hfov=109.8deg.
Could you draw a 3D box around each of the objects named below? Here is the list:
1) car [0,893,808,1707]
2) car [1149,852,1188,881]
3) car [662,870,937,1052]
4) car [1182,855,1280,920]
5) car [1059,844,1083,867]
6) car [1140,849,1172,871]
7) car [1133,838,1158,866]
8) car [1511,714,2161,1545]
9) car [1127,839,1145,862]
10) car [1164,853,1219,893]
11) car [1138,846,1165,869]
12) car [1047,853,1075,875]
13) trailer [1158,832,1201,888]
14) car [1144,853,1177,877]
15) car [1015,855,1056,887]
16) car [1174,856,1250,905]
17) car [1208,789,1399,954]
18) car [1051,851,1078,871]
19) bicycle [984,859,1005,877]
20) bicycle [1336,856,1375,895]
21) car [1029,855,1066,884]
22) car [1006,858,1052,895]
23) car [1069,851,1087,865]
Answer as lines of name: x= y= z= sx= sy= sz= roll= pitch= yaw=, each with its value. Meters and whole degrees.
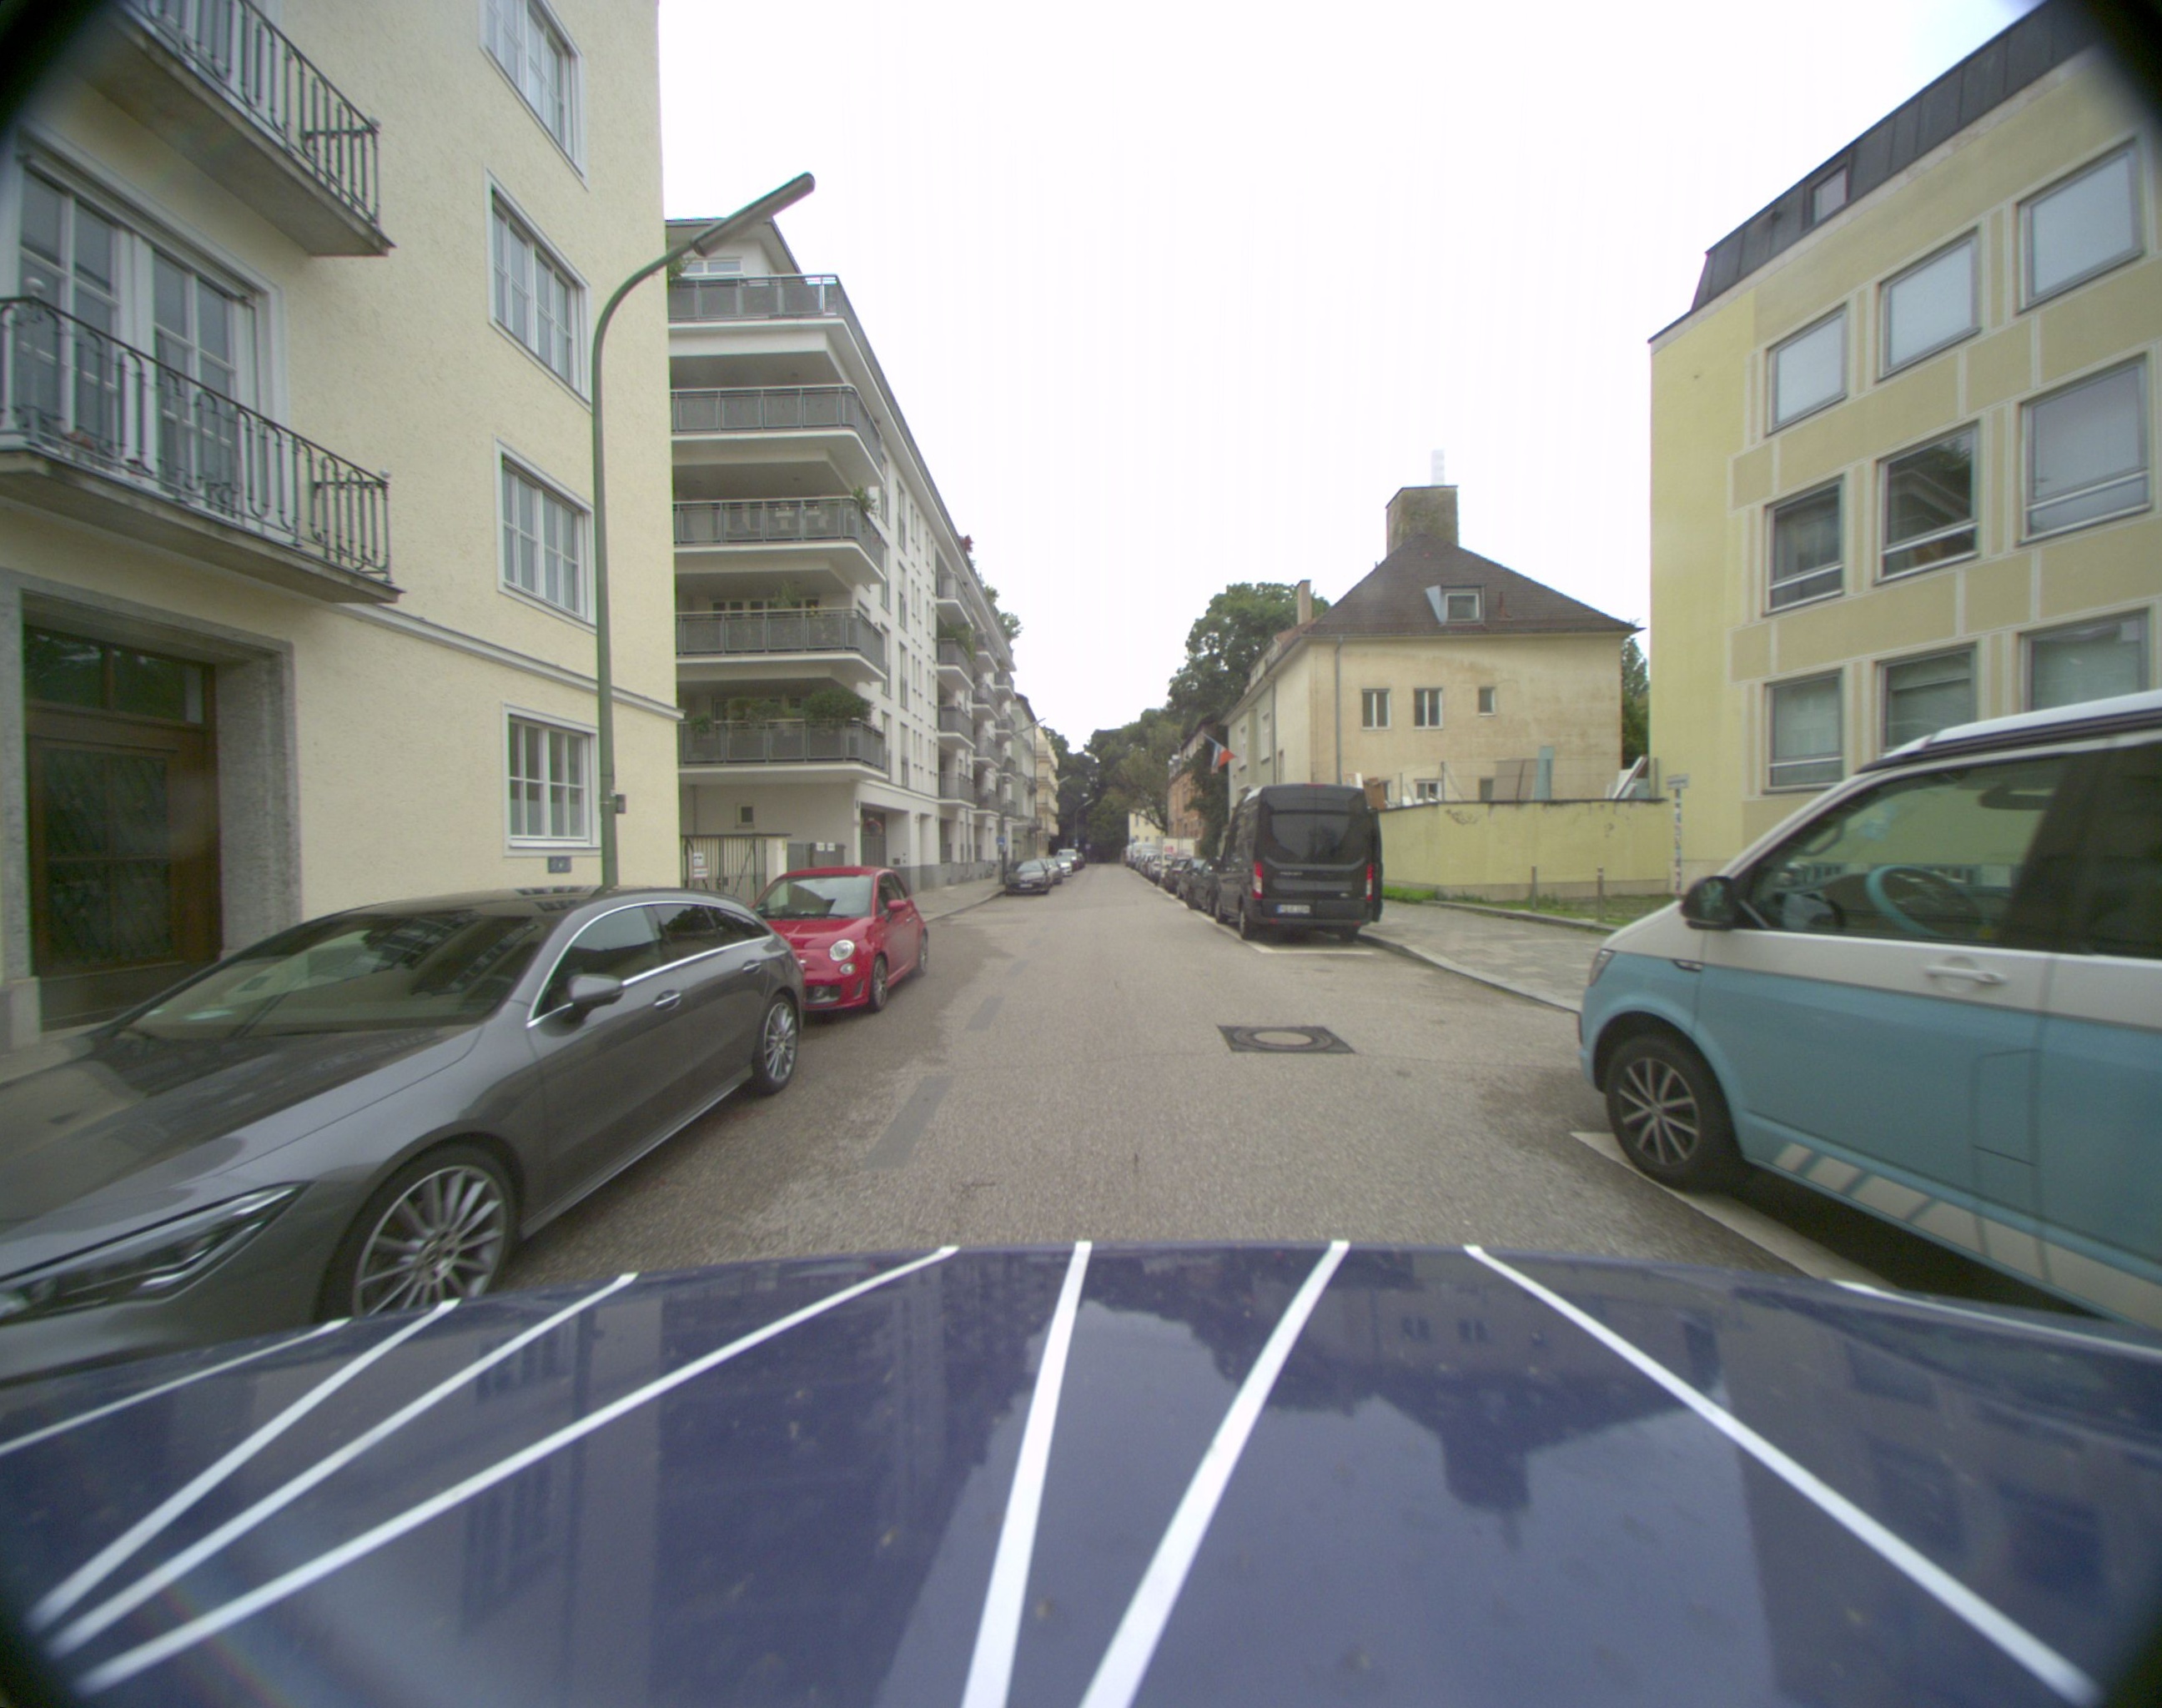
car: x=-2.877 y=1.026 z=3.384 sx=1.683 sy=1.402 sz=4.421 roll=-1 pitch=1 yaw=0
car: x=4.786 y=0.633 z=41.961 sx=1.767 sy=1.505 sz=3.842 roll=0 pitch=1 yaw=2
car: x=-2.875 y=0.997 z=8.706 sx=1.683 sy=1.489 sz=3.823 roll=-1 pitch=1 yaw=0
car: x=3.864 y=0.813 z=20.140 sx=1.706 sy=1.485 sz=3.488 roll=-1 pitch=1 yaw=-4
car: x=-0.876 y=0.113 z=68.872 sx=1.871 sy=2.002 sz=4.268 roll=-1 pitch=1 yaw=2
car: x=5.239 y=0.398 z=53.517 sx=1.818 sy=1.444 sz=3.927 roll=-1 pitch=1 yaw=1
car: x=5.839 y=-0.225 z=69.500 sx=2.104 sy=2.418 sz=4.549 roll=-1 pitch=1 yaw=3
car: x=3.525 y=0.653 z=1.889 sx=1.933 sy=1.967 sz=5.021 roll=0 pitch=1 yaw=-2
car: x=6.209 y=-0.417 z=85.770 sx=1.880 sy=2.539 sz=4.370 roll=-1 pitch=1 yaw=3
car: x=4.419 y=0.717 z=31.048 sx=1.817 sy=1.491 sz=4.644 roll=0 pitch=1 yaw=3
car: x=5.445 y=0.258 z=59.049 sx=1.817 sy=1.724 sz=3.649 roll=-1 pitch=1 yaw=2
car: x=-1.365 y=0.657 z=53.464 sx=1.766 sy=1.449 sz=3.747 roll=-1 pitch=1 yaw=1
trailer: x=4.708 y=0.244 z=36.664 sx=1.817 sy=2.521 sz=3.390 roll=3 pitch=1 yaw=6
car: x=4.914 y=0.673 z=47.282 sx=1.817 sy=1.339 sz=3.746 roll=-1 pitch=1 yaw=3
car: x=-2.205 y=0.792 z=37.835 sx=1.766 sy=1.449 sz=3.417 roll=-1 pitch=1 yaw=1
car: x=4.161 y=0.804 z=24.756 sx=1.697 sy=1.417 sz=4.069 roll=0 pitch=1 yaw=-1
car: x=4.024 y=0.267 z=14.979 sx=2.302 sy=2.630 sz=5.654 roll=0 pitch=0 yaw=2
car: x=-1.300 y=0.515 z=60.211 sx=1.765 sy=1.449 sz=3.748 roll=-1 pitch=1 yaw=4
bicycle: x=-5.262 y=0.830 z=46.290 sx=0.580 sy=1.008 sz=1.955 roll=-2 pitch=1 yaw=14
bicycle: x=8.606 y=0.657 z=23.895 sx=0.580 sy=1.125 sz=1.743 roll=-1 pitch=1 yaw=-1
car: x=-1.798 y=0.806 z=41.948 sx=1.766 sy=1.449 sz=3.747 roll=-1 pitch=1 yaw=1
car: x=-2.157 y=0.924 z=32.461 sx=1.784 sy=1.385 sz=4.245 roll=-1 pitch=1 yaw=-2
car: x=-0.296 y=0.447 z=84.652 sx=1.871 sy=1.455 sz=4.268 roll=-1 pitch=1 yaw=2
